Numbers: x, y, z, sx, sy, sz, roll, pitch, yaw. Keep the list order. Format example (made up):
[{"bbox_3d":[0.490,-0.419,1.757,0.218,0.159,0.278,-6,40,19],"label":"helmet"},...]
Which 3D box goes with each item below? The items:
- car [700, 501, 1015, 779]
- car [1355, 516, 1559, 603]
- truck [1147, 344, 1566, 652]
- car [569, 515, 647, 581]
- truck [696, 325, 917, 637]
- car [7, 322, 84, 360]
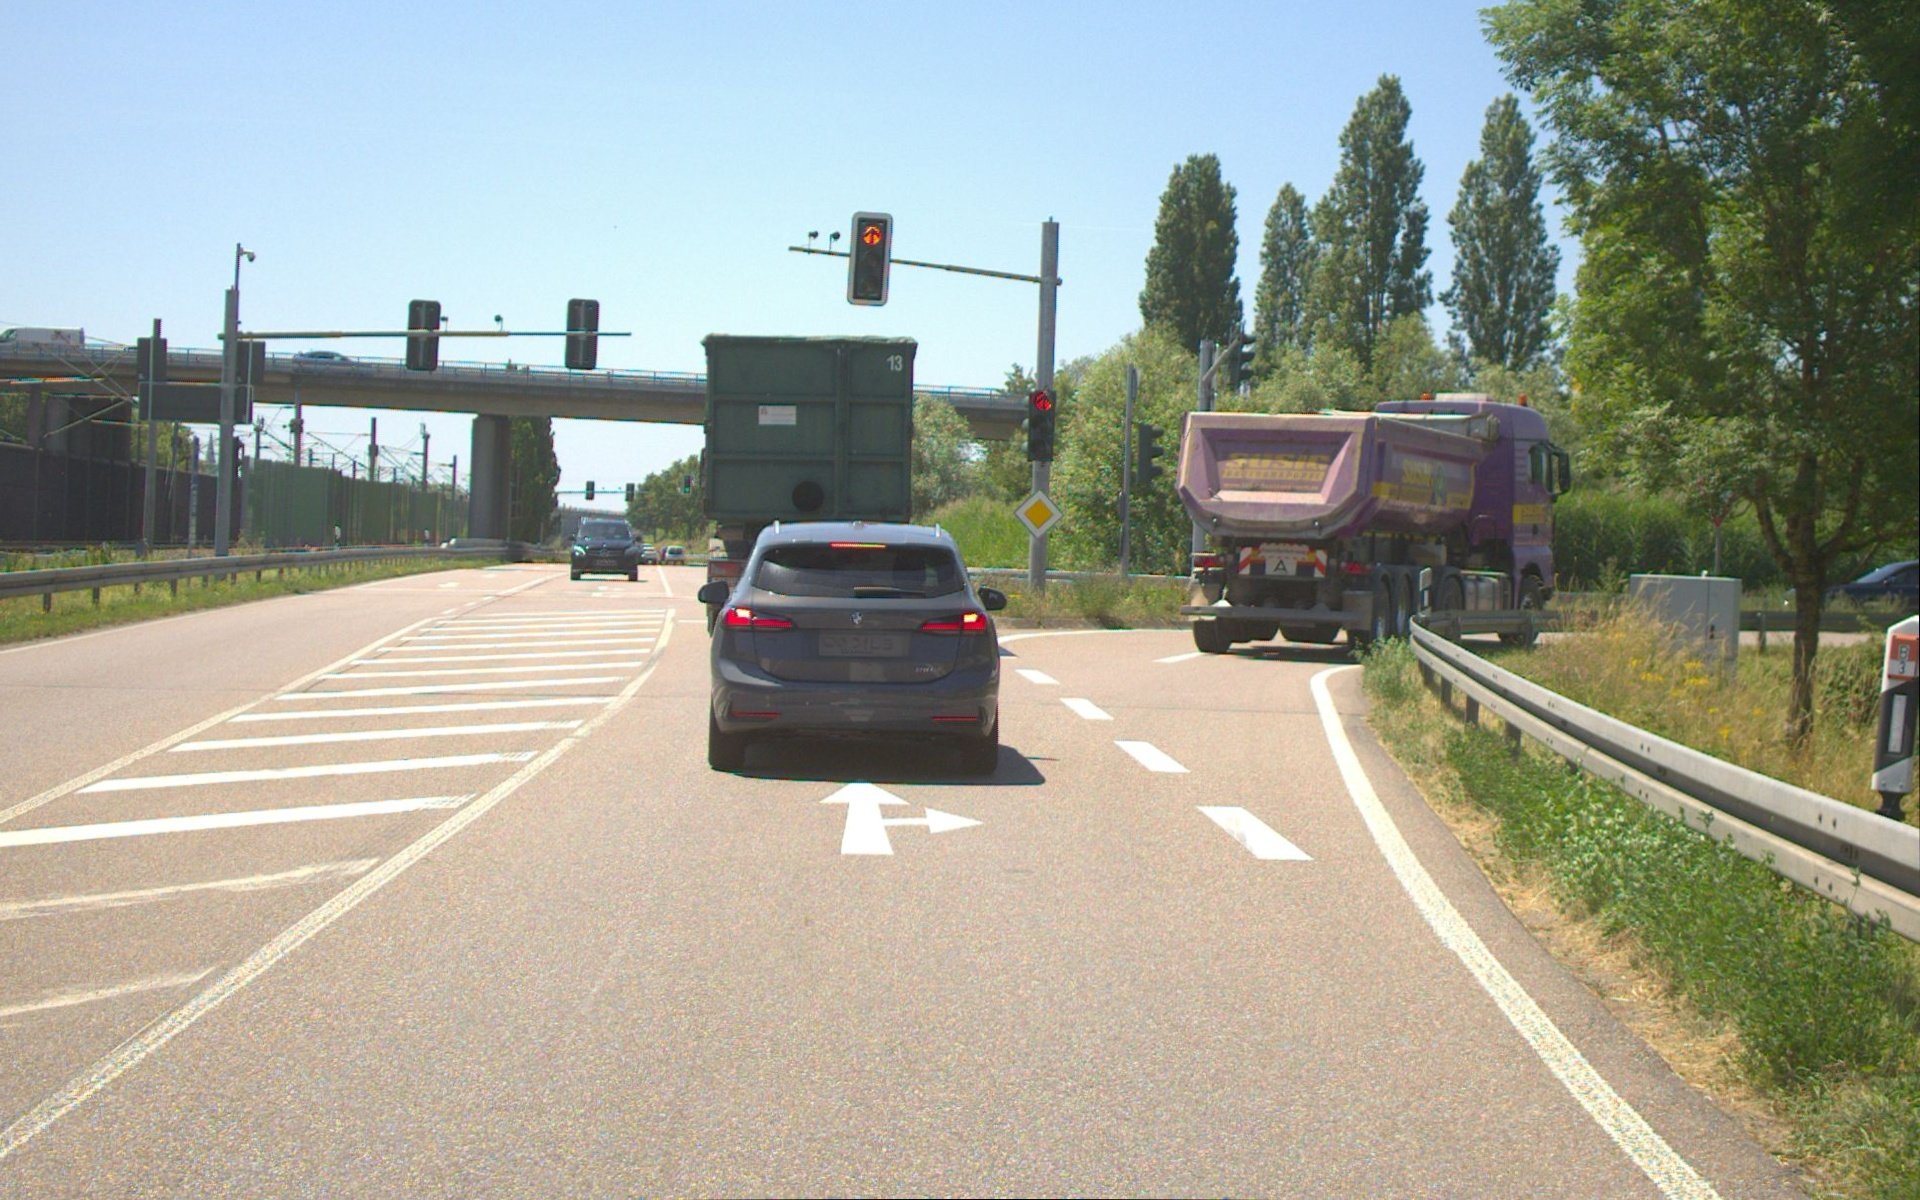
[{"bbox_3d":[-0.655,0.199,22.641,1.844,1.617,4.226,1,1,-1],"label":"car"},{"bbox_3d":[9.905,-0.812,68.610,3.706,1.626,1.735,1,1,-4],"label":"car"},{"bbox_3d":[5.909,-1.360,48.606,2.836,3.808,11.872,2,1,21],"label":"truck"},{"bbox_3d":[-10.181,-1.527,99.691,1.927,1.761,4.598,2,2,-3],"label":"car"},{"bbox_3d":[-2.135,-1.575,46.440,2.589,3.724,9.577,1,2,-3],"label":"truck"},{"bbox_3d":[-52.547,-14.875,197.583,3.986,2.007,2.000,1,1,-4],"label":"car"}]
